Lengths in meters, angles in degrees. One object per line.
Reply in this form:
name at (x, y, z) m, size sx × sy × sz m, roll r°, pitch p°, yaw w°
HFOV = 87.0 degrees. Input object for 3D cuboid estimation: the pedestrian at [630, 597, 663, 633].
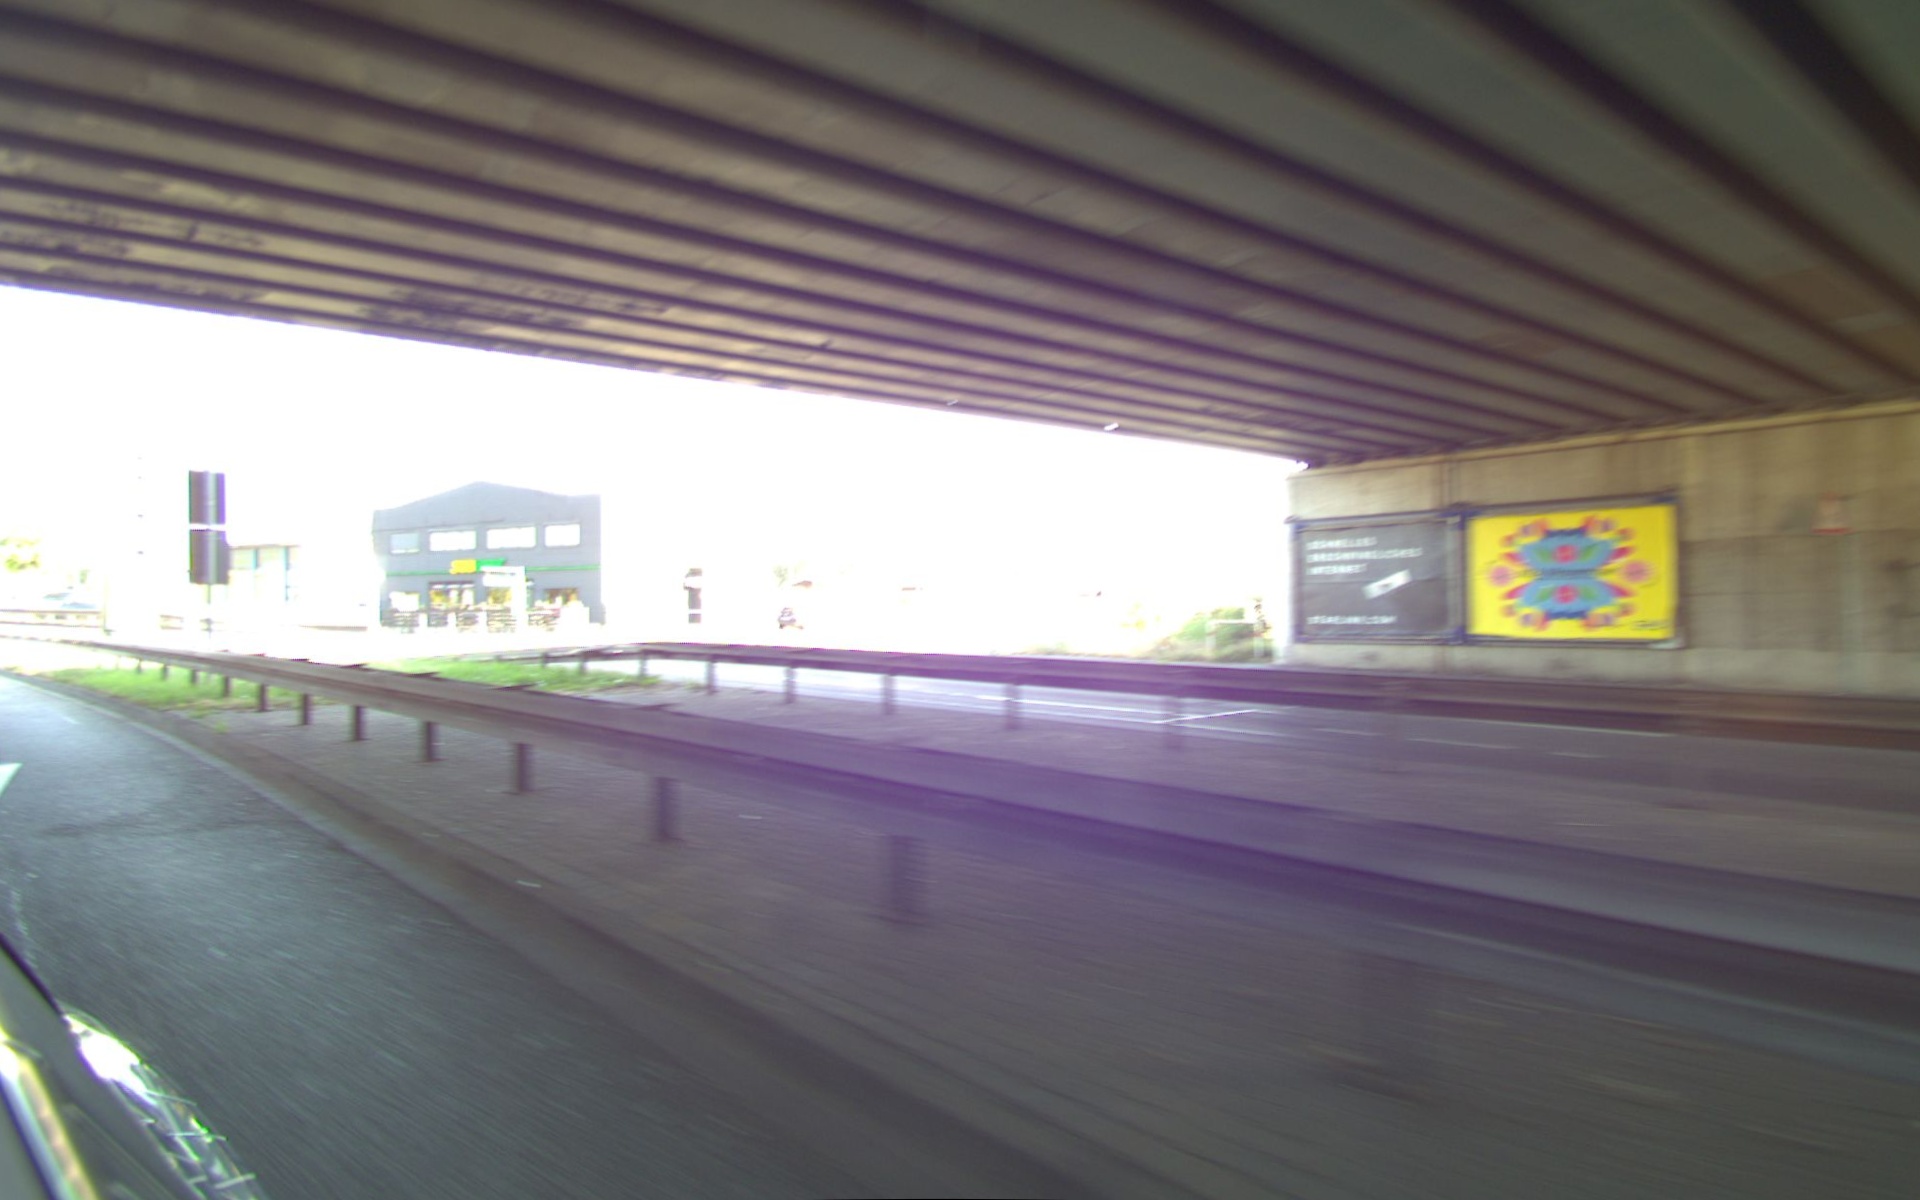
pedestrian at (-16.797, 0.791, 54.208) m, size 1.085 × 1.849 × 1.258 m, roll -1°, pitch 1°, yaw 42°

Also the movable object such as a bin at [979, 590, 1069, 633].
movable object such as a bin at (4.967, 0.931, 79.028) m, size 6.587 × 3.241 × 2.428 m, roll -1°, pitch 1°, yaw 24°
